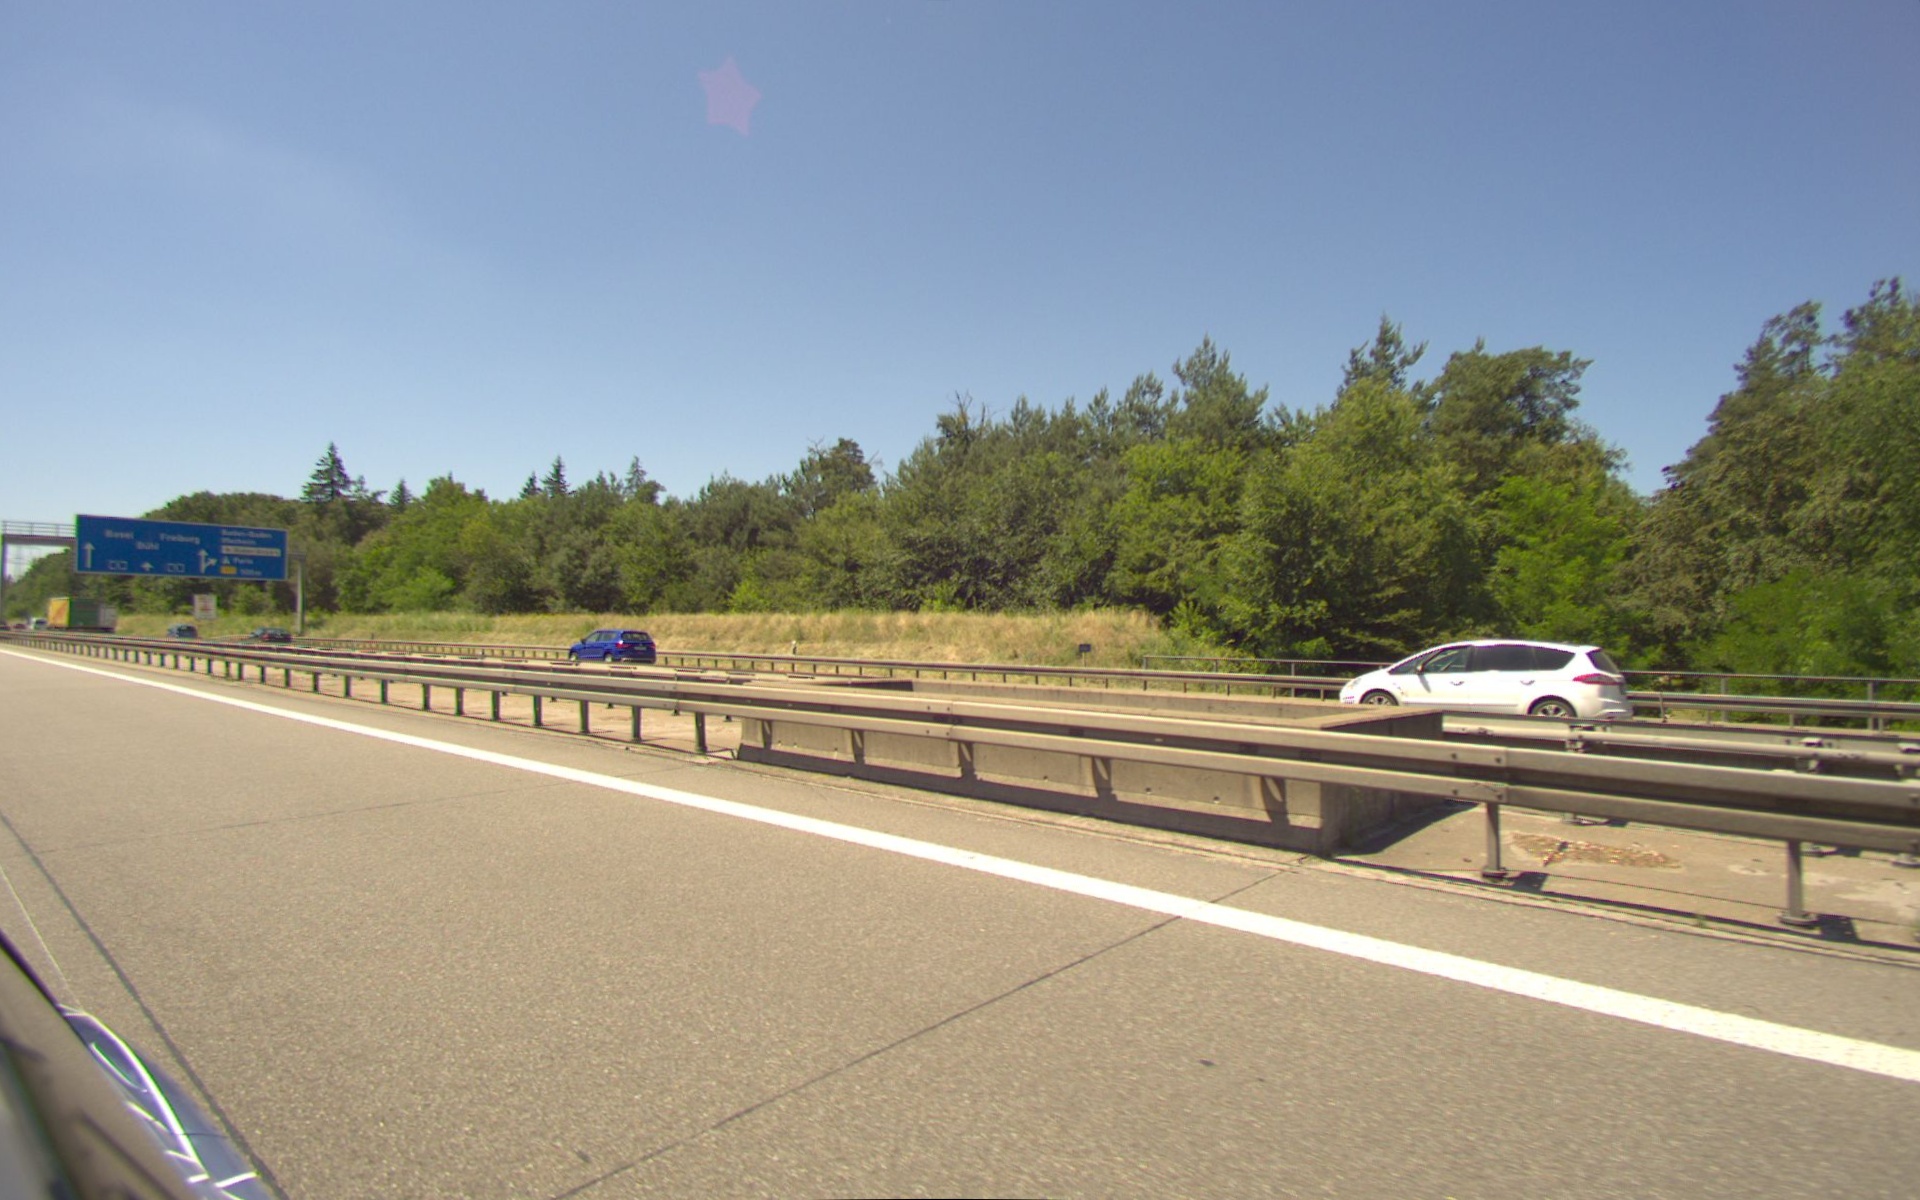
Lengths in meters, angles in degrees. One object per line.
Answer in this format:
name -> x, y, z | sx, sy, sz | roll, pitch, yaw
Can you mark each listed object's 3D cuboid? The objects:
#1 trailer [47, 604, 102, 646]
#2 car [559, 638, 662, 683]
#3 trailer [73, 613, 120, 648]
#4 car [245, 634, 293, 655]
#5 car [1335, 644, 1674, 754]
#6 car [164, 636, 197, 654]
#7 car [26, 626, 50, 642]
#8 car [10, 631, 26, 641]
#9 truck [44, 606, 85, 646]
trailer -> -93.110, 2.700, 106.279 | 14.275, 4.104, 2.437 | -2, -6, 42
car -> -13.398, 2.286, 38.702 | 4.534, 1.557, 1.684 | -2, -6, 42
trailer -> -105.020, 3.703, 122.994 | 11.154, 3.979, 2.597 | -2, -6, 42
car -> -49.532, 3.157, 72.519 | 4.888, 1.376, 1.657 | -2, -6, 42
car -> 9.584, 1.692, 18.174 | 5.115, 1.674, 1.684 | -2, -6, 42
car -> -70.046, 4.039, 90.935 | 4.109, 1.552, 1.507 | -2, -6, 42
car -> -145.763, 5.348, 160.025 | 5.807, 2.358, 1.967 | -2, -6, 41
car -> -169.998, 6.519, 182.588 | 4.610, 1.603, 1.629 | -2, -5, 42
truck -> -98.056, 2.869, 110.796 | 6.285, 4.104, 2.437 | -2, -6, 42
